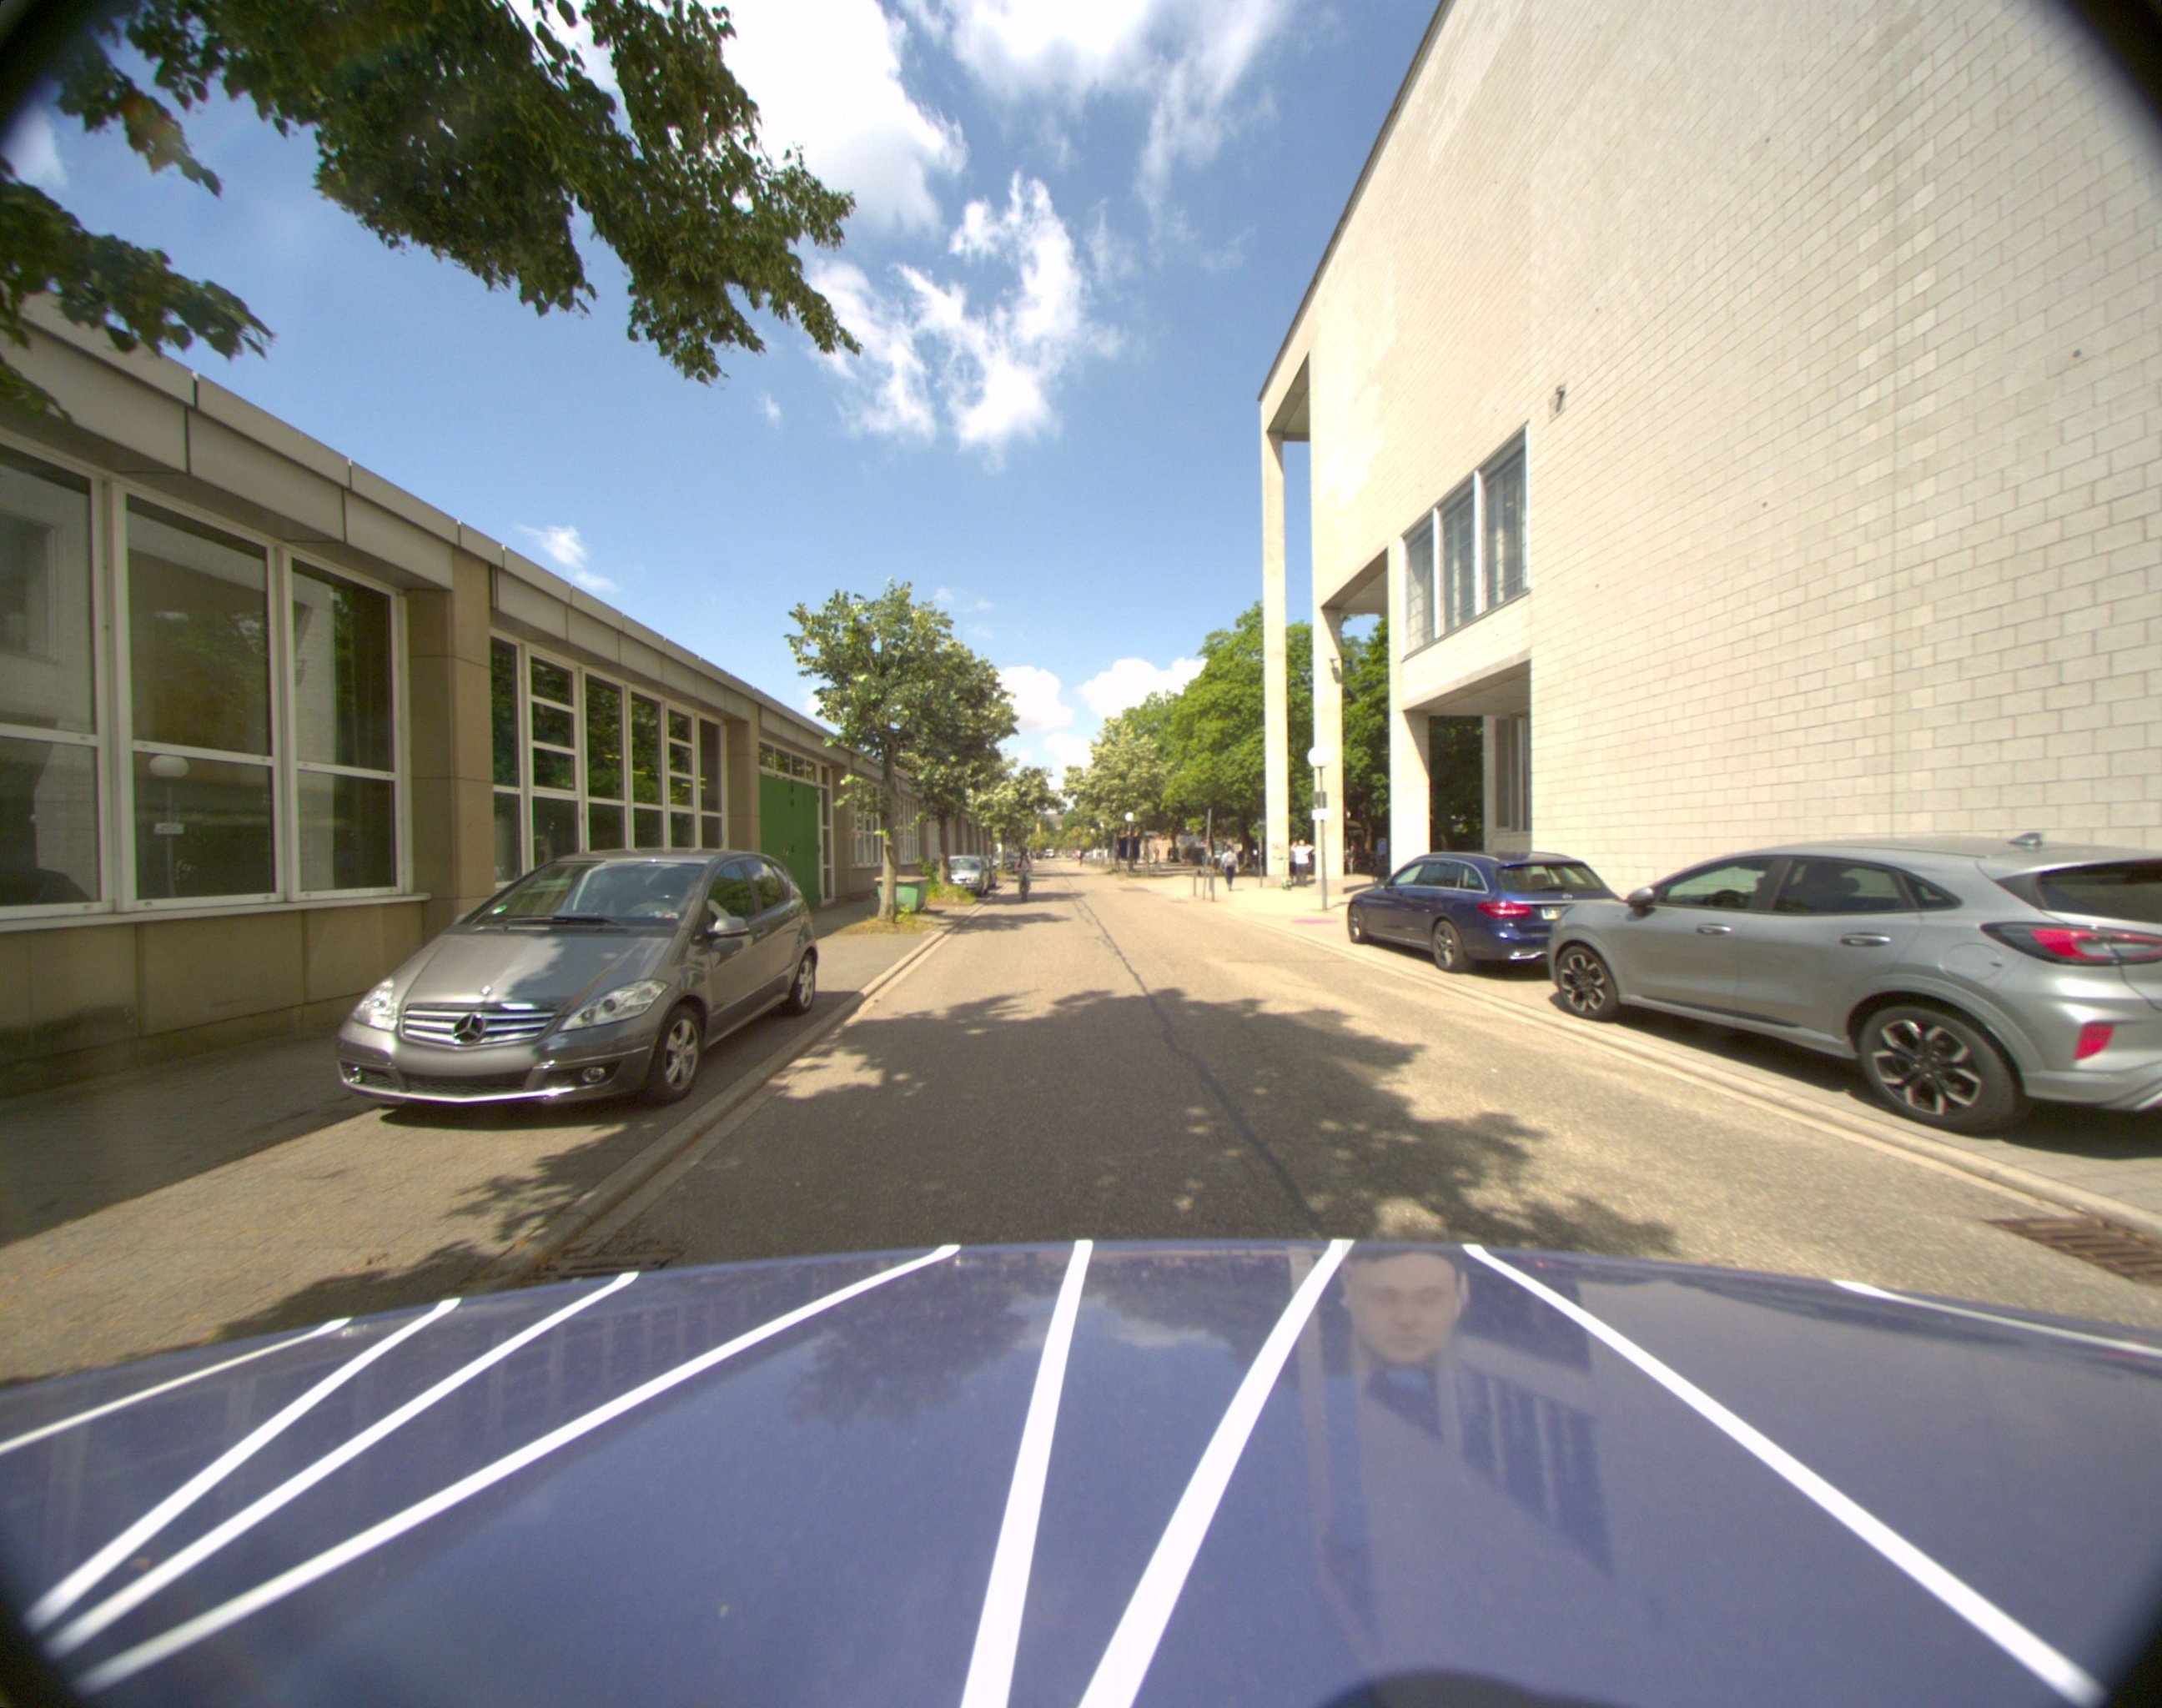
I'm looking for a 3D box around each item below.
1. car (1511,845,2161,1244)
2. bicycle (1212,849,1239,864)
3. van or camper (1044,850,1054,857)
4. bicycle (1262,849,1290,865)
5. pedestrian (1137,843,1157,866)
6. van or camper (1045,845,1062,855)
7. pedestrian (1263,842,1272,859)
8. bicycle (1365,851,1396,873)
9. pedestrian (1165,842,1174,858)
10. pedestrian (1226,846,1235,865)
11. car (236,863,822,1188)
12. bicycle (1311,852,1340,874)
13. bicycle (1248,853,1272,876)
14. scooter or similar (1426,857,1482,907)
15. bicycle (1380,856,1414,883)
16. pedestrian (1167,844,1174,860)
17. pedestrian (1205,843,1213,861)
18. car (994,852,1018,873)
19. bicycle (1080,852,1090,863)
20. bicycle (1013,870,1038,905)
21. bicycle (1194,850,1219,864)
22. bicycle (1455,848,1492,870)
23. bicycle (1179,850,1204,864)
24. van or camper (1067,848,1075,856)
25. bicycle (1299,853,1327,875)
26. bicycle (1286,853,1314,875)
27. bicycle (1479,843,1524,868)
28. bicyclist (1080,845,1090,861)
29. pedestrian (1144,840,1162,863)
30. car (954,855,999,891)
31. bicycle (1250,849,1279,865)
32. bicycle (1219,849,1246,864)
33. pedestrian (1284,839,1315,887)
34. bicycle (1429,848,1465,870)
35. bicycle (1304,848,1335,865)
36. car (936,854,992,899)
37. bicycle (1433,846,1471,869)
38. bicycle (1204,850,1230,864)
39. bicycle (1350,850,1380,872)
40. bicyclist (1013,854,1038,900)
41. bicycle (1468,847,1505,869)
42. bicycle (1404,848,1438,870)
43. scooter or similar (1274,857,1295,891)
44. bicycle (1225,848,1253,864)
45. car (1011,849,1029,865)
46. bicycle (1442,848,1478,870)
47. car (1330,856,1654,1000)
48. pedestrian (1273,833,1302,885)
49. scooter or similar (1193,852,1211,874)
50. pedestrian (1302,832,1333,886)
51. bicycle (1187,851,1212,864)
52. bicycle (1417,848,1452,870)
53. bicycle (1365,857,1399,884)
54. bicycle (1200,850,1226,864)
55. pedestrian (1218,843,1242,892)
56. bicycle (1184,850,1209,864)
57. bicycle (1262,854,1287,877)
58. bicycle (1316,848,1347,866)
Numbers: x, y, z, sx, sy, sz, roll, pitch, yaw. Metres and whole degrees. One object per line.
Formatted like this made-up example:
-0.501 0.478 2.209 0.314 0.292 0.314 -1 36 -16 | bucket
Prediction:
5.199 0.759 5.316 1.731 1.526 4.404 -3 1 -2 | car
11.431 0.220 60.026 2.127 1.100 0.681 -2 1 -32 | bicycle
-9.884 -0.094 236.847 2.092 1.963 4.262 -1 1 11 | van or camper
14.192 0.203 55.277 2.127 1.100 0.751 -2 1 -32 | bicycle
5.446 0.023 62.642 1.400 1.814 1.369 -2 1 -3 | pedestrian
-6.841 -1.021 188.493 1.994 2.348 4.391 0 1 30 | van or camper
16.934 -0.290 69.121 0.587 1.523 0.503 -2 1 -23 | pedestrian
14.925 0.370 37.926 0.622 1.052 2.123 -2 1 -3 | bicycle
10.520 -0.447 90.622 0.677 1.882 0.816 -1 2 38 | pedestrian
13.671 0.119 69.522 0.756 1.661 0.823 -1 1 12 | pedestrian
-3.407 0.879 5.731 1.761 1.559 3.816 0 0 -3 | car
12.230 0.442 38.058 0.622 1.052 2.123 -2 1 -3 | bicycle
8.884 0.528 37.839 0.508 1.100 2.000 -2 1 -7 | bicycle
9.510 0.704 19.406 1.212 1.225 0.402 -1 1 38 | scooter or similar
12.435 0.608 29.936 0.517 0.980 1.965 -2 1 1 | bicycle
9.437 -0.187 79.917 0.678 1.661 0.815 -2 1 3 | pedestrian
12.467 -0.203 74.048 0.678 1.661 0.815 -2 1 3 | pedestrian
-5.537 0.584 56.528 1.649 1.484 3.814 0 1 -3 | car
0.439 0.350 82.467 1.011 1.169 3.393 -2 1 -2 | bicycle
-1.817 1.072 24.985 0.781 1.042 1.912 -1 0 -4 | bicycle
10.290 0.263 62.325 2.127 1.052 0.681 -2 1 -32 | bicycle
19.637 0.213 38.104 0.622 1.052 2.174 -2 1 -3 | bicycle
9.313 0.250 64.156 2.127 1.052 0.621 -2 1 -32 | bicycle
-2.974 -0.653 227.938 1.852 2.093 4.305 -2 1 8 | van or camper
11.573 0.473 38.012 0.622 1.052 2.123 -2 1 -3 | bicycle
10.924 0.473 37.967 0.622 1.052 2.123 -2 1 -3 | bicycle
23.753 0.087 42.940 0.623 1.325 2.169 -3 1 -37 | bicycle
0.429 -0.080 82.383 1.053 1.690 1.281 -2 1 -2 | bicyclist
6.441 -0.212 68.336 1.400 2.002 1.369 -2 1 -3 | pedestrian
-4.536 0.789 33.466 1.622 1.455 3.816 1 0 -3 | car
13.597 0.206 56.325 2.127 1.100 0.751 -2 1 -32 | bicycle
11.841 0.216 59.398 2.127 1.100 0.681 -2 1 -32 | bicycle
8.224 0.329 28.621 0.755 1.770 1.080 -2 1 -3 | pedestrian
18.295 0.236 38.028 0.622 1.052 2.174 -2 1 -3 | bicycle
16.274 0.188 51.849 2.127 1.100 0.751 -2 1 -32 | bicycle
-4.248 0.785 28.016 1.622 1.503 3.816 1 0 -3 | car
19.799 0.167 40.640 0.622 1.185 2.172 -2 1 -11 | bicycle
10.913 0.247 60.883 2.127 1.052 0.681 -2 1 -32 | bicycle
14.238 0.354 38.160 0.622 1.052 2.123 -2 1 -3 | bicycle
-1.815 0.733 24.977 0.781 1.478 0.695 -1 1 -4 | bicyclist
20.319 0.203 38.137 0.622 1.052 2.174 -2 1 -3 | bicycle
16.975 0.242 37.944 0.622 1.052 2.174 -2 1 -3 | bicycle
7.270 0.705 27.152 0.318 1.138 1.312 -2 1 -2 | scooter or similar
12.238 0.163 58.751 2.127 1.151 0.751 -2 1 -32 | bicycle
-5.830 0.301 72.713 1.649 1.484 3.814 0 1 -3 | car
18.962 0.250 38.064 0.622 1.052 2.174 -2 1 -3 | bicycle
5.100 0.783 10.323 1.731 1.414 4.663 -2 0 -2 | car
8.172 0.193 30.131 0.755 2.002 1.080 -2 1 -3 | pedestrian
6.873 0.500 43.069 0.713 1.184 1.617 -1 2 19 | scooter or similar
9.049 0.180 29.140 0.755 2.002 1.080 -2 1 -3 | pedestrian
9.763 0.293 62.816 2.127 1.052 0.621 -2 1 -32 | bicycle
17.639 0.222 37.992 0.622 1.052 2.174 -2 1 -3 | bicycle
11.846 0.640 29.941 0.596 0.980 1.965 -2 1 1 | bicycle
10.708 0.243 61.723 2.127 1.052 0.681 -2 1 -32 | bicycle
5.464 0.473 27.846 0.760 1.715 1.235 -4 1 11 | pedestrian
9.676 0.247 63.565 2.127 1.052 0.621 -2 1 -32 | bicycle
9.640 0.544 37.887 0.592 1.052 2.123 -2 1 -3 | bicycle
16.774 0.186 50.910 2.127 1.100 0.751 -2 1 -32 | bicycle
